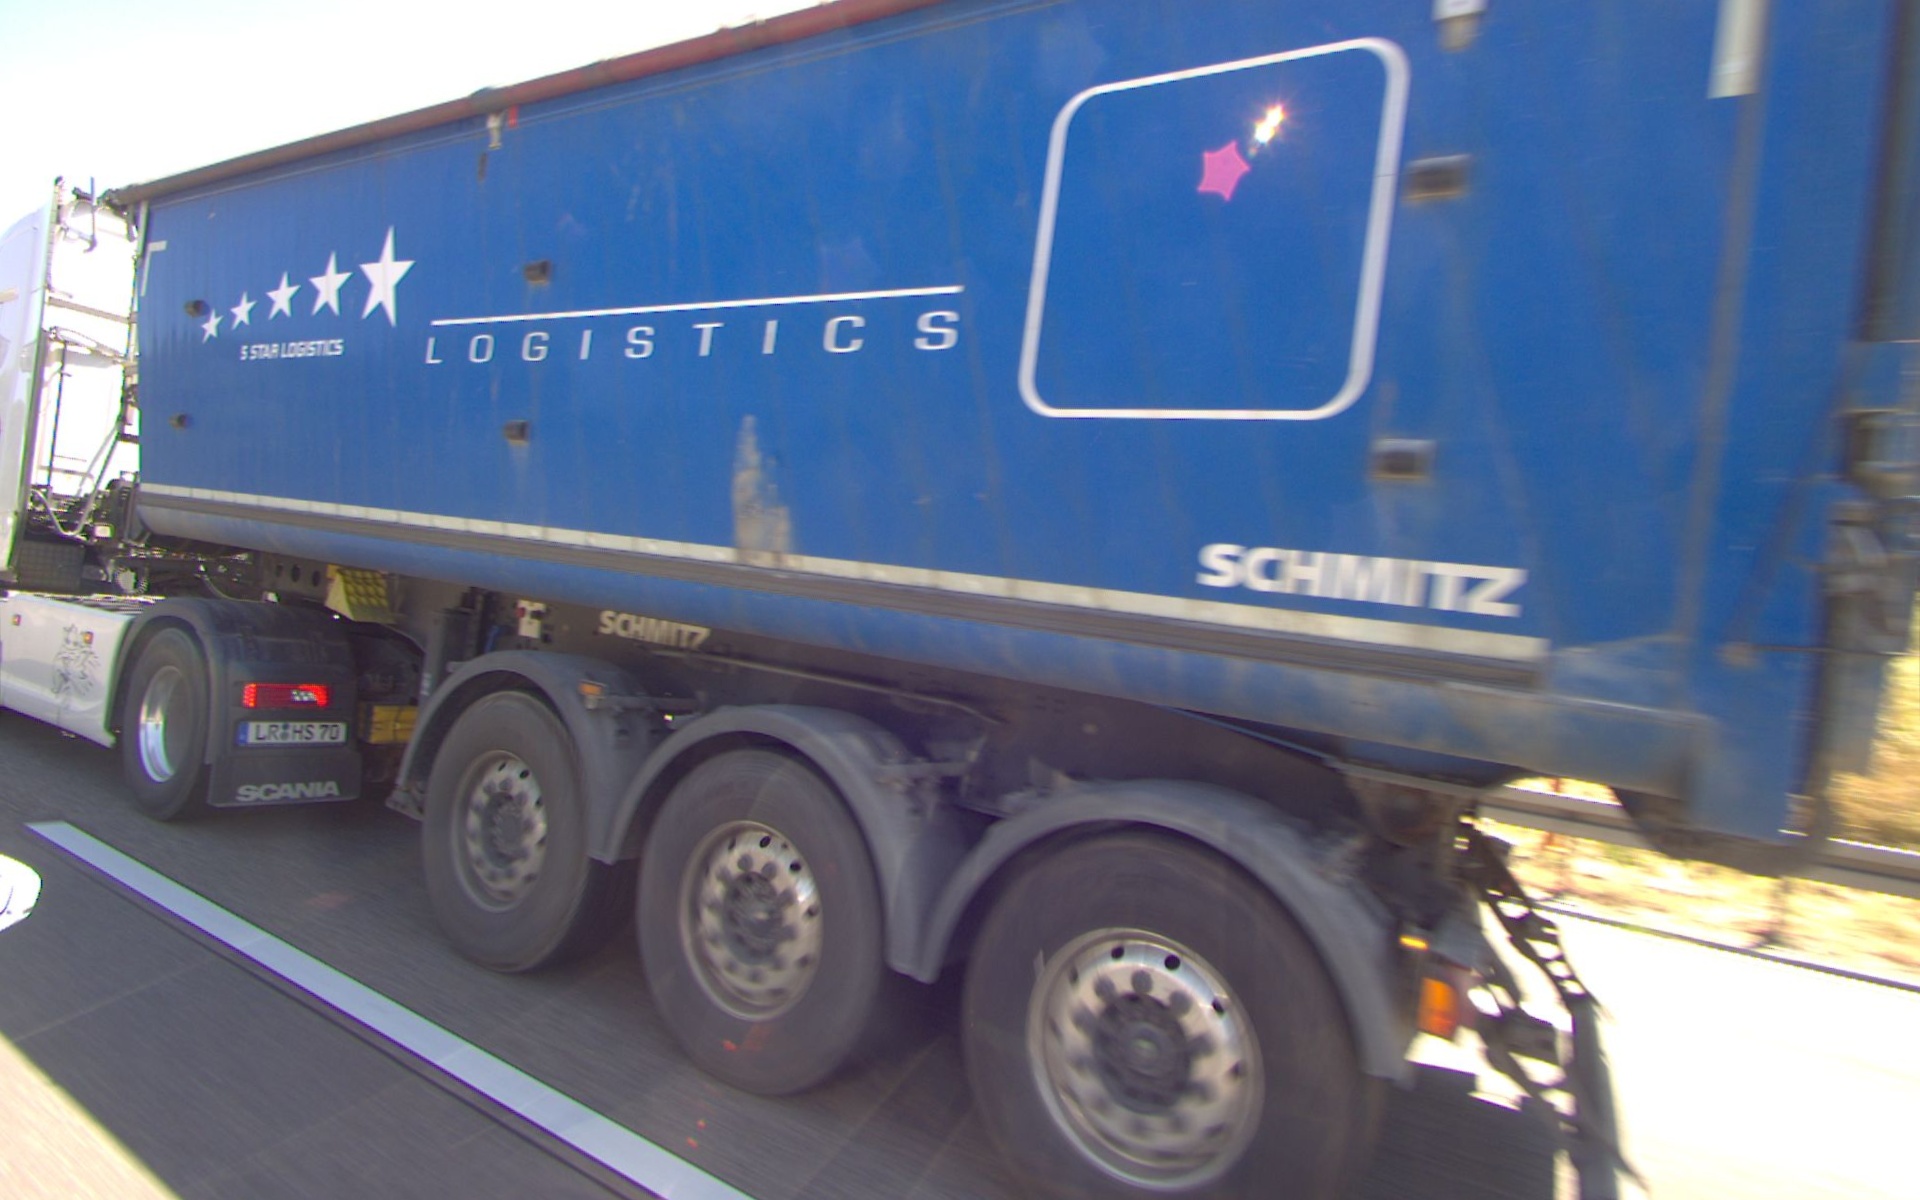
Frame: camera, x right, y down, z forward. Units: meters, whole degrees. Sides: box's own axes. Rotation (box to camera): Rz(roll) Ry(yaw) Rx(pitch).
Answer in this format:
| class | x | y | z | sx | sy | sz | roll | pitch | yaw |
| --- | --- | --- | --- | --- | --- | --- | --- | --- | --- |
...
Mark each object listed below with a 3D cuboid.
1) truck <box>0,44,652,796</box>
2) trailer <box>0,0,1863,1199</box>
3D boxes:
| class | x | y | z | sx | sy | sz | roll | pitch | yaw |
| --- | --- | --- | --- | --- | --- | --- | --- | --- | --- |
| truck | -5.619 | -1.070 | 7.757 | 5.846 | 3.804 | 2.688 | 7 | 0 | 32 |
| trailer | -1.635 | -0.646 | 5.238 | 8.958 | 3.804 | 2.741 | 7 | 0 | 32 |
